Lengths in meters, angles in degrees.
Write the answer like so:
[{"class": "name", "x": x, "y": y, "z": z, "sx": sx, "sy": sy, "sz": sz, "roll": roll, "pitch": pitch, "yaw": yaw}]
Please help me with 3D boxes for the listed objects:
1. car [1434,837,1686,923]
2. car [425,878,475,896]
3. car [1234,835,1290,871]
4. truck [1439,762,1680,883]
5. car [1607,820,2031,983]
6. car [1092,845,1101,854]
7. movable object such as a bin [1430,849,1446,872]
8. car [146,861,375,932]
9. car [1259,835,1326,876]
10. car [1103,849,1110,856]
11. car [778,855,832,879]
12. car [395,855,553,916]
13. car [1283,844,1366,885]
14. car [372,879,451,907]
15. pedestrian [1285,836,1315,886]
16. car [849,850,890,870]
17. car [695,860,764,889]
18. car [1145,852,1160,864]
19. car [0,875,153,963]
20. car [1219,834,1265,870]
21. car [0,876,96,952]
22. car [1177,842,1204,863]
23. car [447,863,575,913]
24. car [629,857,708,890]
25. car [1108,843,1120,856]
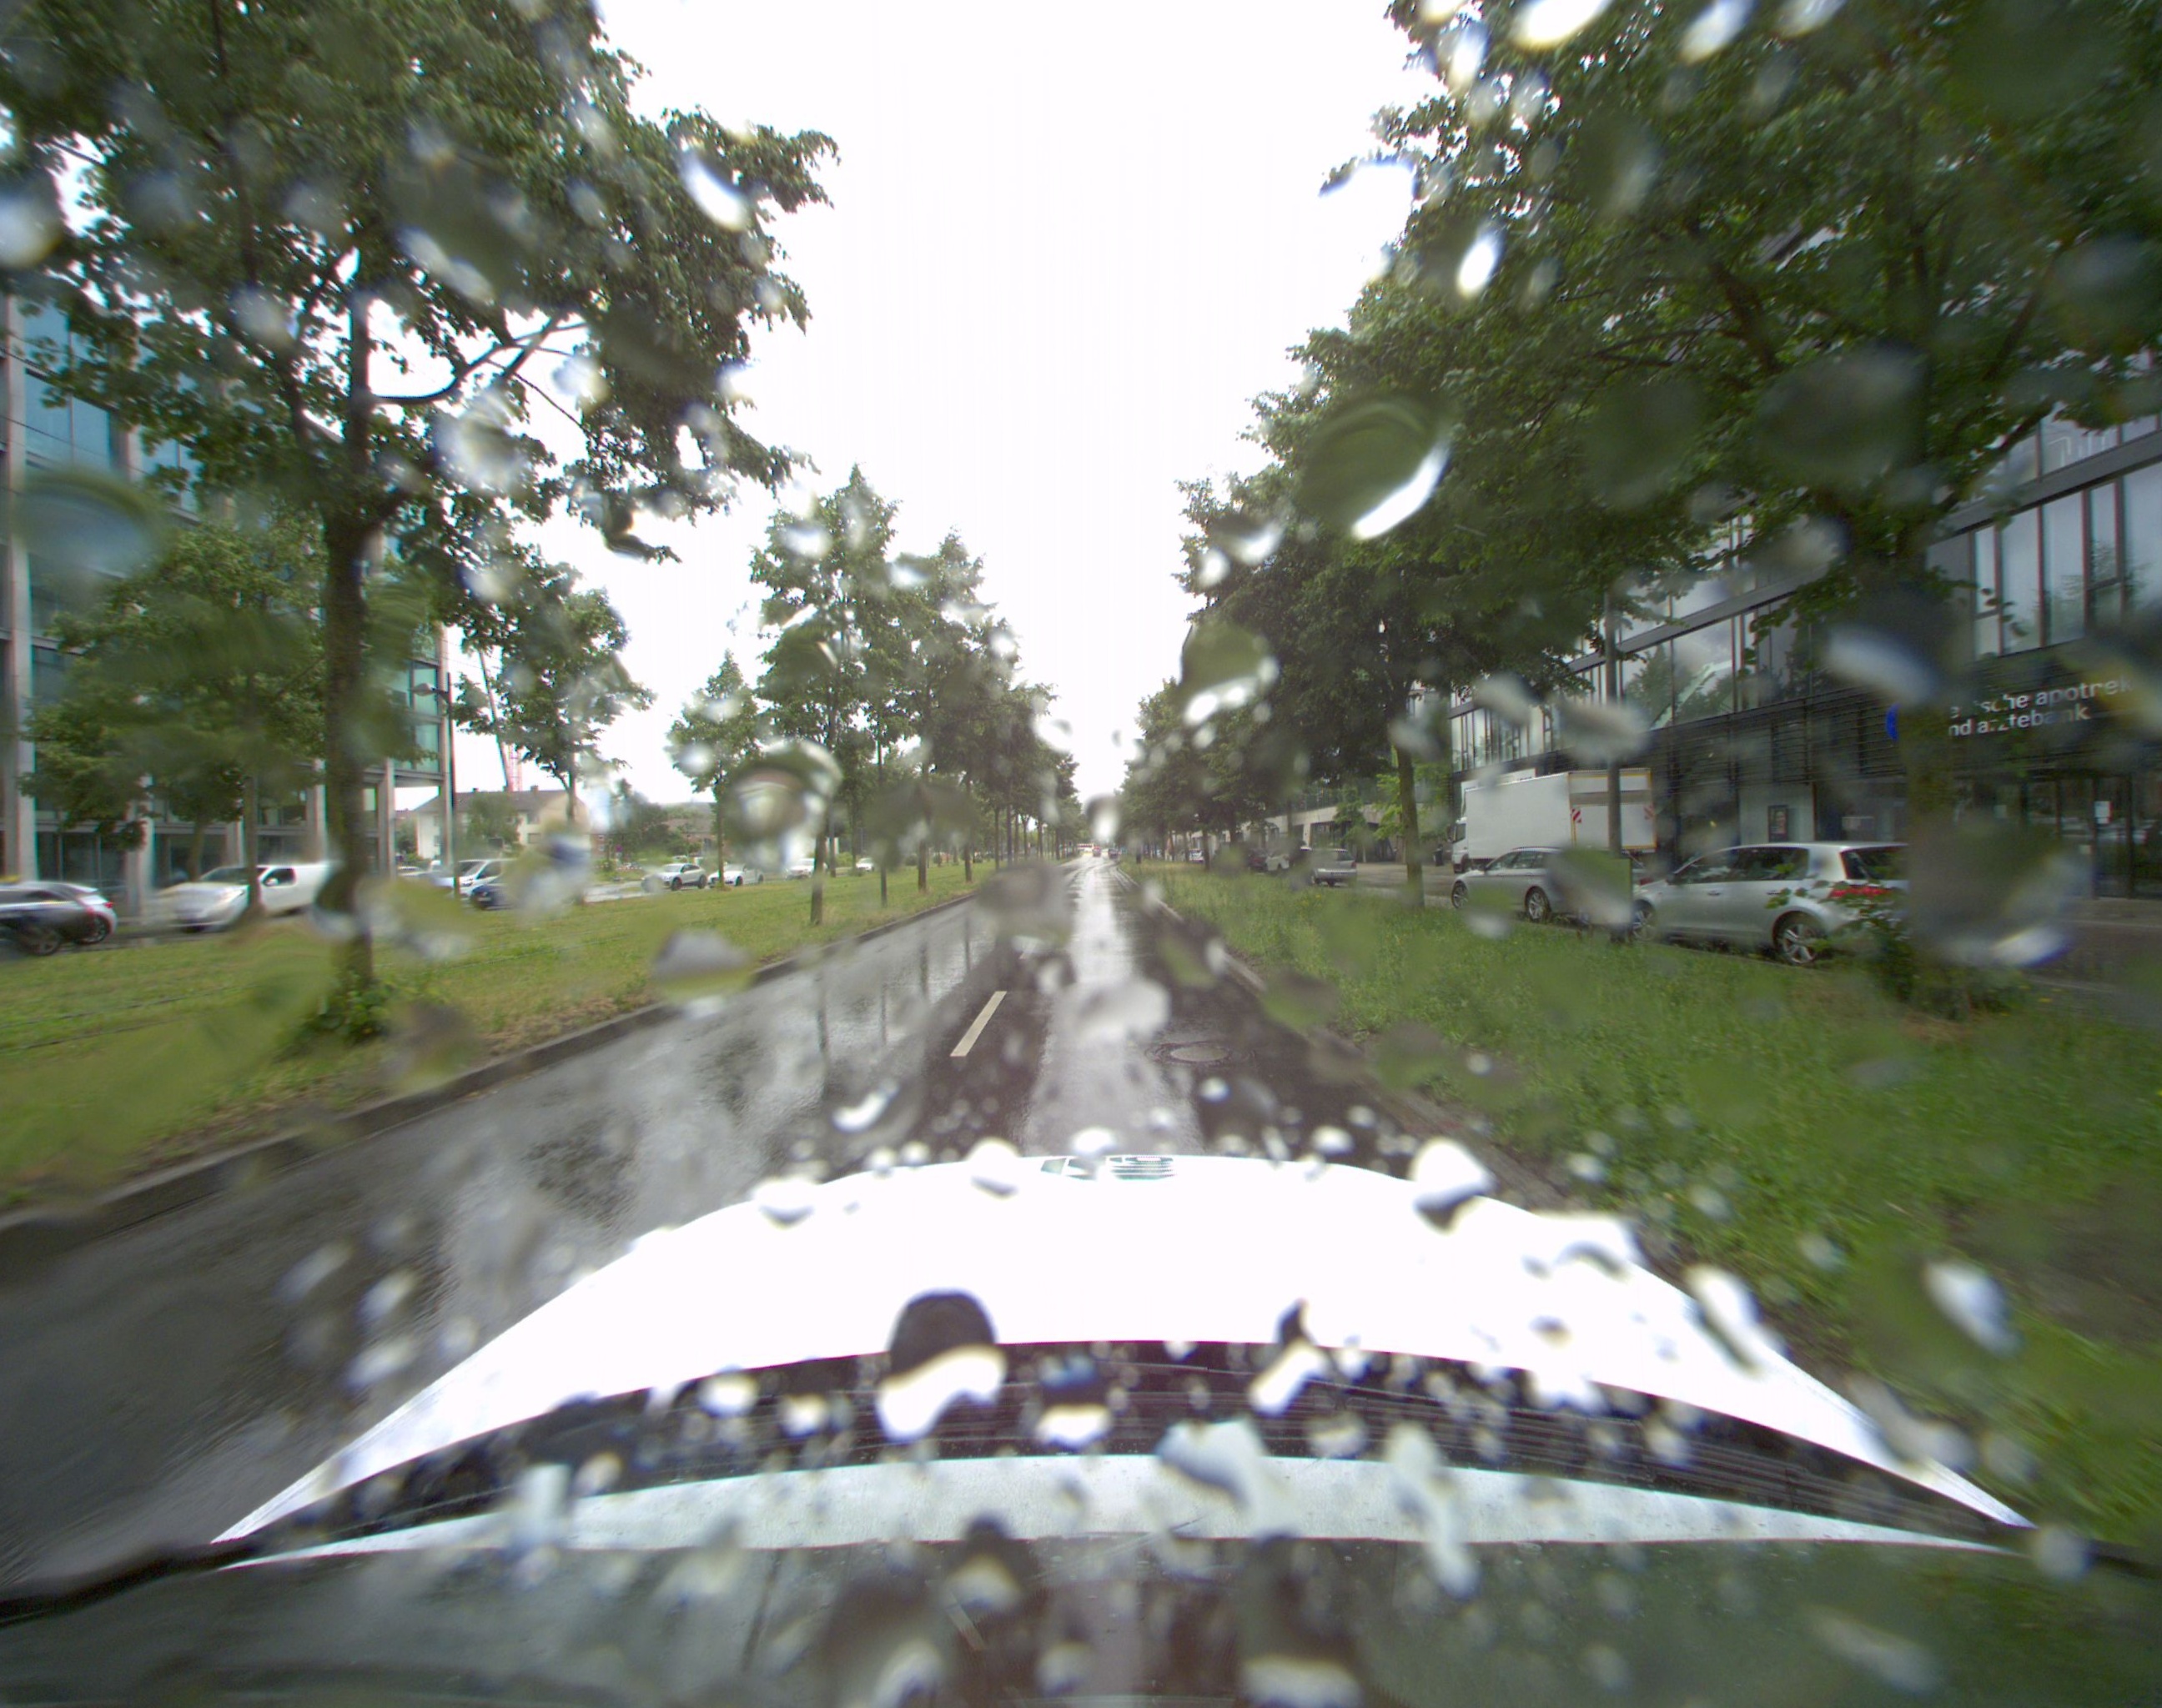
[{"class": "car", "x": 9.461, "y": 0.431, "z": 16.758, "sx": 1.988, "sy": 1.444, "sz": 5.233, "roll": -1, "pitch": 0, "yaw": -2}, {"class": "car", "x": -48.717, "y": 2.529, "z": 62.945, "sx": 1.284, "sy": 1.072, "sz": 3.021, "roll": -1, "pitch": 3, "yaw": 4}, {"class": "car", "x": 9.675, "y": -0.098, "z": 43.930, "sx": 1.986, "sy": 1.668, "sz": 4.961, "roll": -2, "pitch": 3, "yaw": 1}, {"class": "truck", "x": 15.716, "y": -0.943, "z": 27.809, "sx": 3.016, "sy": 3.441, "sz": 8.542, "roll": -1, "pitch": 0, "yaw": -2}, {"class": "car", "x": 8.857, "y": 0.405, "z": 10.370, "sx": 1.754, "sy": 1.596, "sz": 4.102, "roll": -2, "pitch": 3, "yaw": 1}, {"class": "car", "x": 3.757, "y": -1.022, "z": 201.129, "sx": 1.985, "sy": 2.013, "sz": 4.005, "roll": -1, "pitch": 3, "yaw": 3}, {"class": "movable object such as a bin", "x": 20.460, "y": 0.353, "z": 46.616, "sx": 0.606, "sy": 1.276, "sz": 0.647, "roll": -2, "pitch": 2, "yaw": -3}, {"class": "car", "x": -25.079, "y": 1.221, "z": 25.240, "sx": 1.945, "sy": 1.651, "sz": 5.029, "roll": -2, "pitch": 3, "yaw": -1}, {"class": "car", "x": 9.774, "y": 0.005, "z": 38.020, "sx": 1.986, "sy": 1.668, "sz": 4.726, "roll": -2, "pitch": 3, "yaw": 1}, {"class": "car", "x": 7.646, "y": -0.388, "z": 245.872, "sx": 1.985, "sy": 2.013, "sz": 4.005, "roll": -1, "pitch": 3, "yaw": 3}, {"class": "car", "x": -18.366, "y": 0.821, "z": 54.415, "sx": 1.944, "sy": 1.452, "sz": 4.577, "roll": -1, "pitch": 0, "yaw": 1}, {"class": "car", "x": -24.831, "y": 1.205, "z": 33.687, "sx": 2.259, "sy": 2.006, "sz": 5.377, "roll": -1, "pitch": 3, "yaw": 2}, {"class": "car", "x": 9.448, "y": 0.344, "z": 31.999, "sx": 1.765, "sy": 1.452, "sz": 4.721, "roll": -1, "pitch": 1, "yaw": -1}, {"class": "car", "x": -44.437, "y": 2.561, "z": 54.092, "sx": 3.771, "sy": 1.608, "sz": 1.747, "roll": -1, "pitch": 2, "yaw": 4}, {"class": "pedestrian", "x": 6.700, "y": 0.215, "z": 24.951, "sx": 0.696, "sy": 1.493, "sz": 0.643, "roll": -1, "pitch": 0, "yaw": -2}, {"class": "car", "x": -18.357, "y": 0.478, "z": 70.918, "sx": 1.942, "sy": 1.460, "sz": 4.838, "roll": -1, "pitch": 3, "yaw": 5}, {"class": "car", "x": -20.657, "y": 1.194, "z": 48.088, "sx": 1.944, "sy": 1.513, "sz": 4.577, "roll": -1, "pitch": 0, "yaw": 1}, {"class": "car", "x": 10.662, "y": 0.557, "z": 121.519, "sx": 1.874, "sy": 1.505, "sz": 4.726, "roll": -2, "pitch": 3, "yaw": 1}, {"class": "car", "x": -25.193, "y": 1.560, "z": 18.881, "sx": 1.945, "sy": 1.745, "sz": 4.632, "roll": -2, "pitch": 3, "yaw": -1}, {"class": "car", "x": 10.045, "y": -0.171, "z": 51.171, "sx": 1.986, "sy": 1.952, "sz": 5.032, "roll": -2, "pitch": 3, "yaw": 1}, {"class": "car", "x": -21.982, "y": 1.281, "z": 14.999, "sx": 1.944, "sy": 1.385, "sz": 4.605, "roll": -2, "pitch": 3, "yaw": 0}, {"class": "car", "x": 10.122, "y": -0.186, "z": 75.534, "sx": 1.986, "sy": 1.668, "sz": 4.726, "roll": -2, "pitch": 3, "yaw": 1}, {"class": "car", "x": -21.678, "y": 1.247, "z": 31.192, "sx": 1.944, "sy": 1.494, "sz": 3.964, "roll": -2, "pitch": 3, "yaw": 1}, {"class": "car", "x": -23.843, "y": 1.072, "z": 47.277, "sx": 1.942, "sy": 1.749, "sz": 4.581, "roll": -1, "pitch": 0, "yaw": 4}, {"class": "car", "x": 5.791, "y": -0.825, "z": 143.822, "sx": 1.933, "sy": 2.013, "sz": 4.002, "roll": -2, "pitch": 3, "yaw": 1}]
